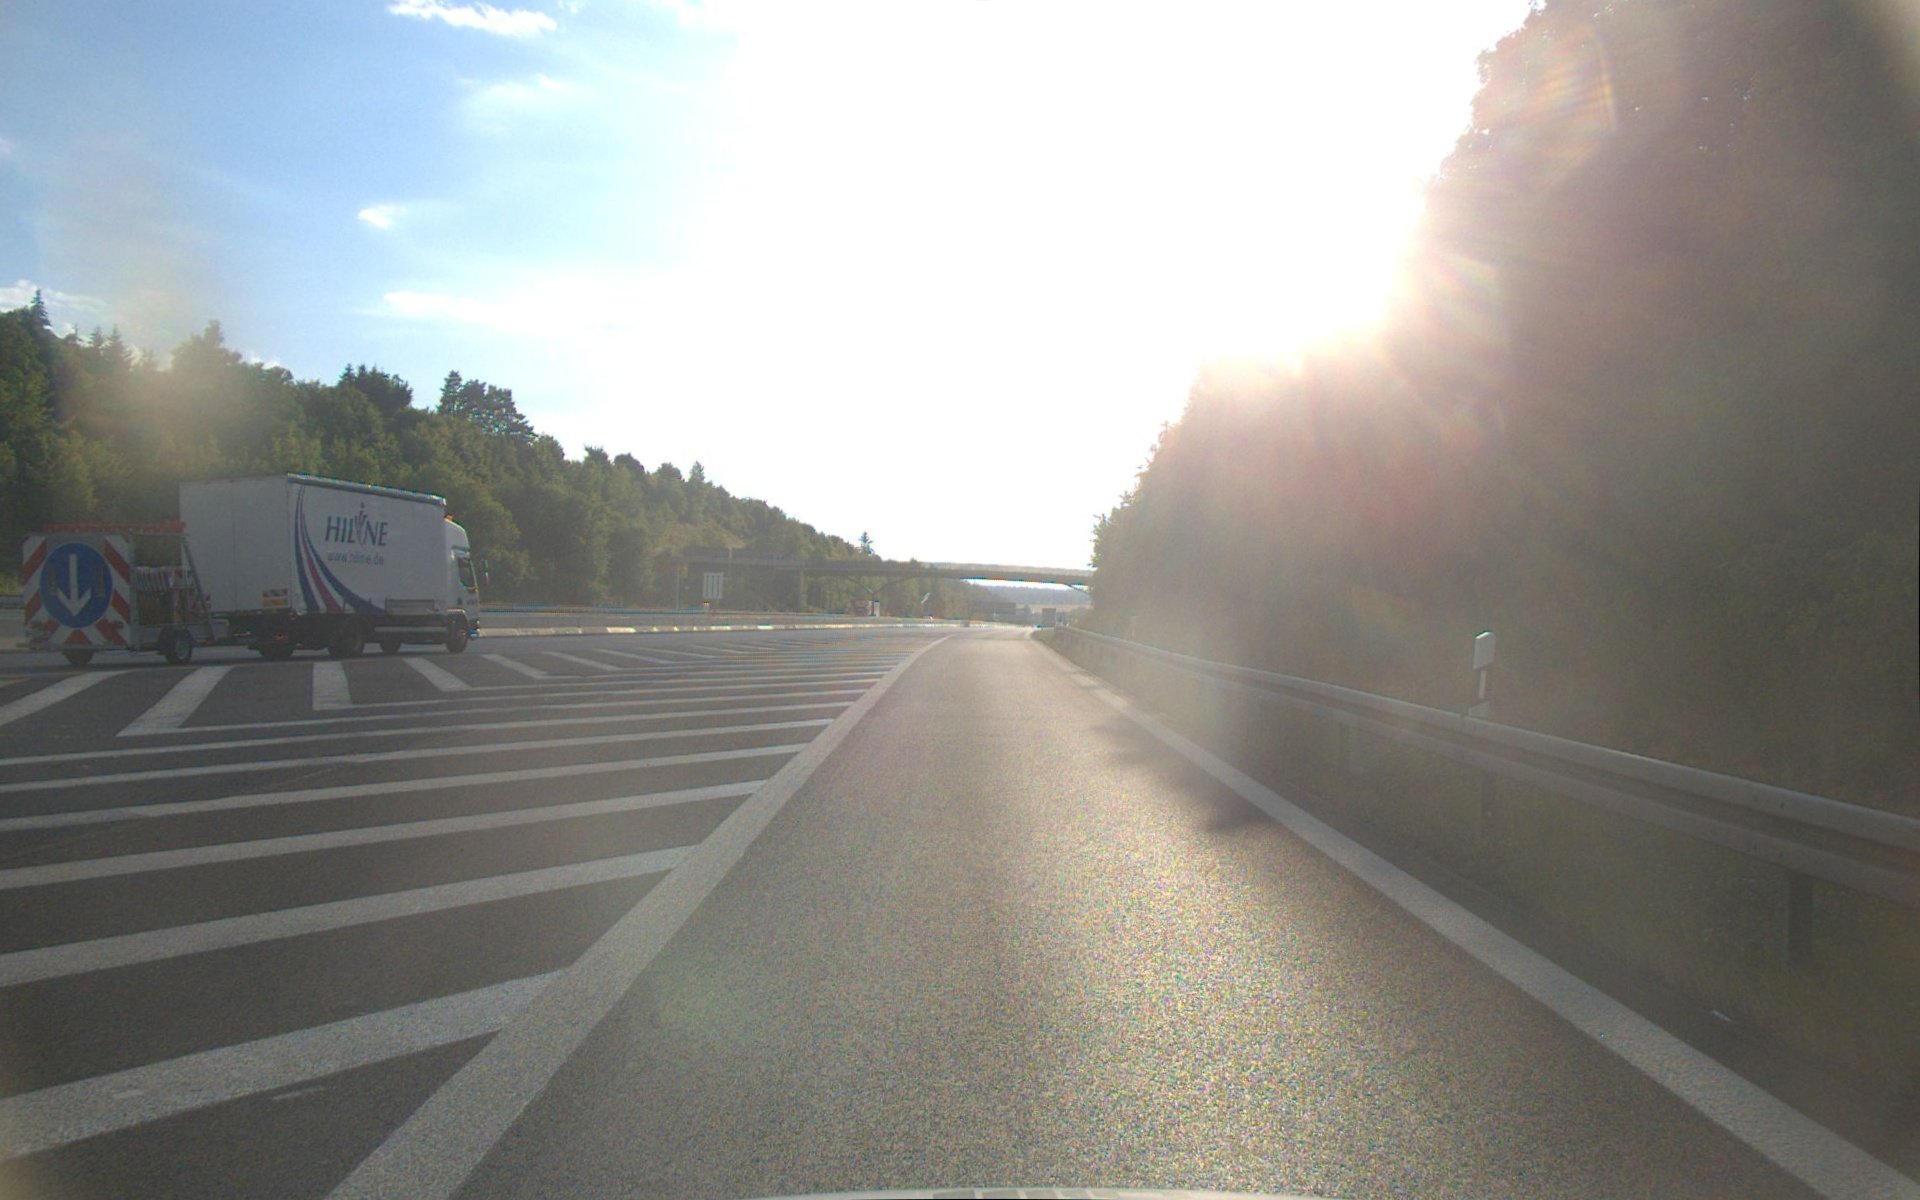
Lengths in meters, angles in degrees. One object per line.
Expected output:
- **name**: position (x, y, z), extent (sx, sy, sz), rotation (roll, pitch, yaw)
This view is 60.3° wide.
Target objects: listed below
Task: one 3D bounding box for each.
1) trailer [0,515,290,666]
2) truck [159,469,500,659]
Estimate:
- **trailer**: position (-15.570, -0.171, 31.713), extent (2.858, 2.623, 4.819), rotation (1, 0, 10)
- **truck**: position (-14.339, -0.727, 38.843), extent (2.858, 3.855, 9.673), rotation (1, 0, 10)
